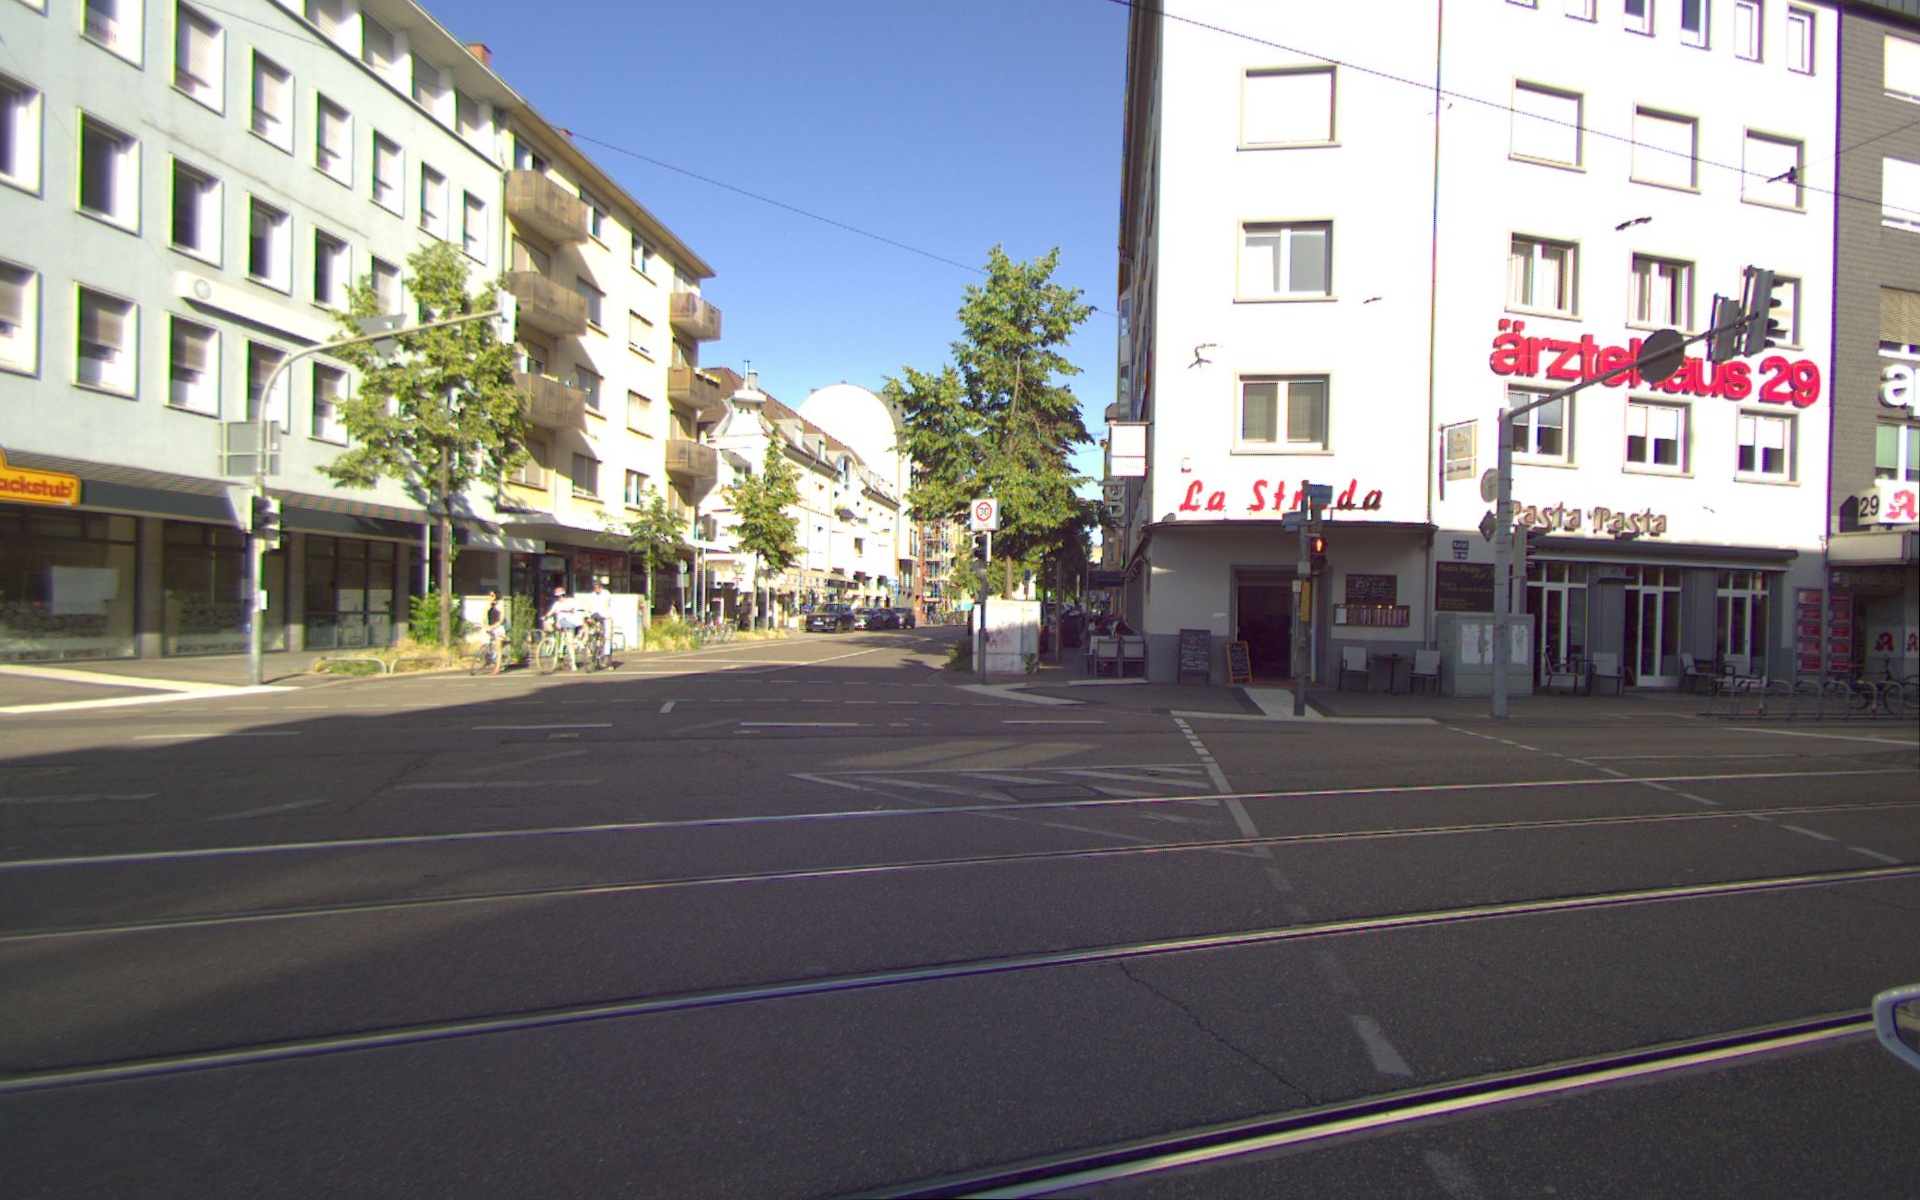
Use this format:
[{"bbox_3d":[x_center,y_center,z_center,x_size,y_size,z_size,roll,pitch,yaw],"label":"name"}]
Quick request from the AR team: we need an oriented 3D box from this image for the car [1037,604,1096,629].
[{"bbox_3d":[9.663,1.462,91.171,5.299,2.174,2.001,1,0,7],"label":"car"}]

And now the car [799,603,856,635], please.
[{"bbox_3d":[-7.155,1.022,54.632,1.959,1.619,4.003,2,0,9],"label":"car"}]

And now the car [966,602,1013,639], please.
[{"bbox_3d":[1.551,1.016,50.601,1.871,1.756,4.291,1,0,8],"label":"car"}]

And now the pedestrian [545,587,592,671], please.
[{"bbox_3d":[-8.342,0.620,21.434,0.766,1.751,0.559,2,0,-7],"label":"pedestrian"}]

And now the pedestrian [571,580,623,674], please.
[{"bbox_3d":[-7.594,0.552,21.063,0.766,1.891,1.000,-1,0,-6],"label":"pedestrian"}]

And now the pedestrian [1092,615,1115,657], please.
[{"bbox_3d":[4.750,1.171,33.334,0.718,1.365,1.060,1,0,6],"label":"pedestrian"}]

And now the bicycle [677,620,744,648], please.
[{"bbox_3d":[-9.388,1.278,37.863,2.358,1.019,0.655,1,0,-3],"label":"bicycle"}]

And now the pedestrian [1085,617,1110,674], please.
[{"bbox_3d":[3.283,1.071,23.945,0.576,1.330,0.561,1,0,8],"label":"pedestrian"}]

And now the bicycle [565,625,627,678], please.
[{"bbox_3d":[-7.623,1.057,21.123,0.746,1.021,1.724,-2,0,-3],"label":"bicycle"}]

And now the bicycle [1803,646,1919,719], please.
[{"bbox_3d":[18.014,1.597,19.721,0.762,1.240,2.099,1,1,-20],"label":"bicycle"}]

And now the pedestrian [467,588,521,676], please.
[{"bbox_3d":[-9.399,0.642,20.293,0.778,1.735,0.653,2,0,-7],"label":"pedestrian"}]

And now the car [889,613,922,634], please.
[{"bbox_3d":[-3.872,1.672,72.011,1.755,1.421,3.908,1,0,6],"label":"car"}]

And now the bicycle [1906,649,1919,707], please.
[{"bbox_3d":[20.718,1.643,20.491,0.762,1.208,1.931,1,0,-20],"label":"bicycle"}]

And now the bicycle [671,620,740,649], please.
[{"bbox_3d":[-9.369,1.273,37.017,2.350,0.991,0.656,1,0,-2],"label":"bicycle"}]

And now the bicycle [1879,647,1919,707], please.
[{"bbox_3d":[19.958,1.604,20.252,0.762,1.188,1.931,1,1,-20],"label":"bicycle"}]

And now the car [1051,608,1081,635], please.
[{"bbox_3d":[7.861,1.576,74.113,1.959,1.849,4.003,2,0,9],"label":"car"}]

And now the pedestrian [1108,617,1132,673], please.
[{"bbox_3d":[3.929,1.089,24.639,0.479,1.340,0.654,1,0,15],"label":"pedestrian"}]

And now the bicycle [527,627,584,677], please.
[{"bbox_3d":[-8.431,1.067,21.004,0.543,0.981,1.794,1,-1,-3],"label":"bicycle"}]

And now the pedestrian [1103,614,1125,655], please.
[{"bbox_3d":[5.296,1.185,34.538,0.718,1.378,0.959,1,0,8],"label":"pedestrian"}]

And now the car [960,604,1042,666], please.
[{"bbox_3d":[1.305,0.984,29.972,1.967,1.658,4.291,1,0,8],"label":"car"}]

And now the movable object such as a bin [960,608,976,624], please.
[{"bbox_3d":[0.766,1.498,92.296,1.289,1.426,1.069,1,0,-9],"label":"movable object such as a bin"}]

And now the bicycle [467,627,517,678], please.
[{"bbox_3d":[-9.564,1.059,20.568,0.472,0.968,1.454,1,-1,-6],"label":"bicycle"}]

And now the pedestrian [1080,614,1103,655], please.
[{"bbox_3d":[4.512,1.174,34.490,0.697,1.365,1.060,1,0,5],"label":"pedestrian"}]

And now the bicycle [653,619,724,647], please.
[{"bbox_3d":[-9.648,1.175,35.723,2.358,0.971,0.545,1,0,-4],"label":"bicycle"}]

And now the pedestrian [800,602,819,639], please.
[{"bbox_3d":[-8.491,1.148,56.620,0.937,2.040,1.088,-2,0,-5],"label":"pedestrian"}]

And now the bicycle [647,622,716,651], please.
[{"bbox_3d":[-9.688,1.271,34.990,2.184,0.971,0.655,1,0,-4],"label":"bicycle"}]

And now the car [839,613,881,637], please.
[{"bbox_3d":[-6.150,1.522,62.161,1.755,1.421,3.908,1,0,6],"label":"car"}]

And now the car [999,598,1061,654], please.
[{"bbox_3d":[2.594,0.902,36.285,1.871,1.877,4.291,1,0,8],"label":"car"}]
